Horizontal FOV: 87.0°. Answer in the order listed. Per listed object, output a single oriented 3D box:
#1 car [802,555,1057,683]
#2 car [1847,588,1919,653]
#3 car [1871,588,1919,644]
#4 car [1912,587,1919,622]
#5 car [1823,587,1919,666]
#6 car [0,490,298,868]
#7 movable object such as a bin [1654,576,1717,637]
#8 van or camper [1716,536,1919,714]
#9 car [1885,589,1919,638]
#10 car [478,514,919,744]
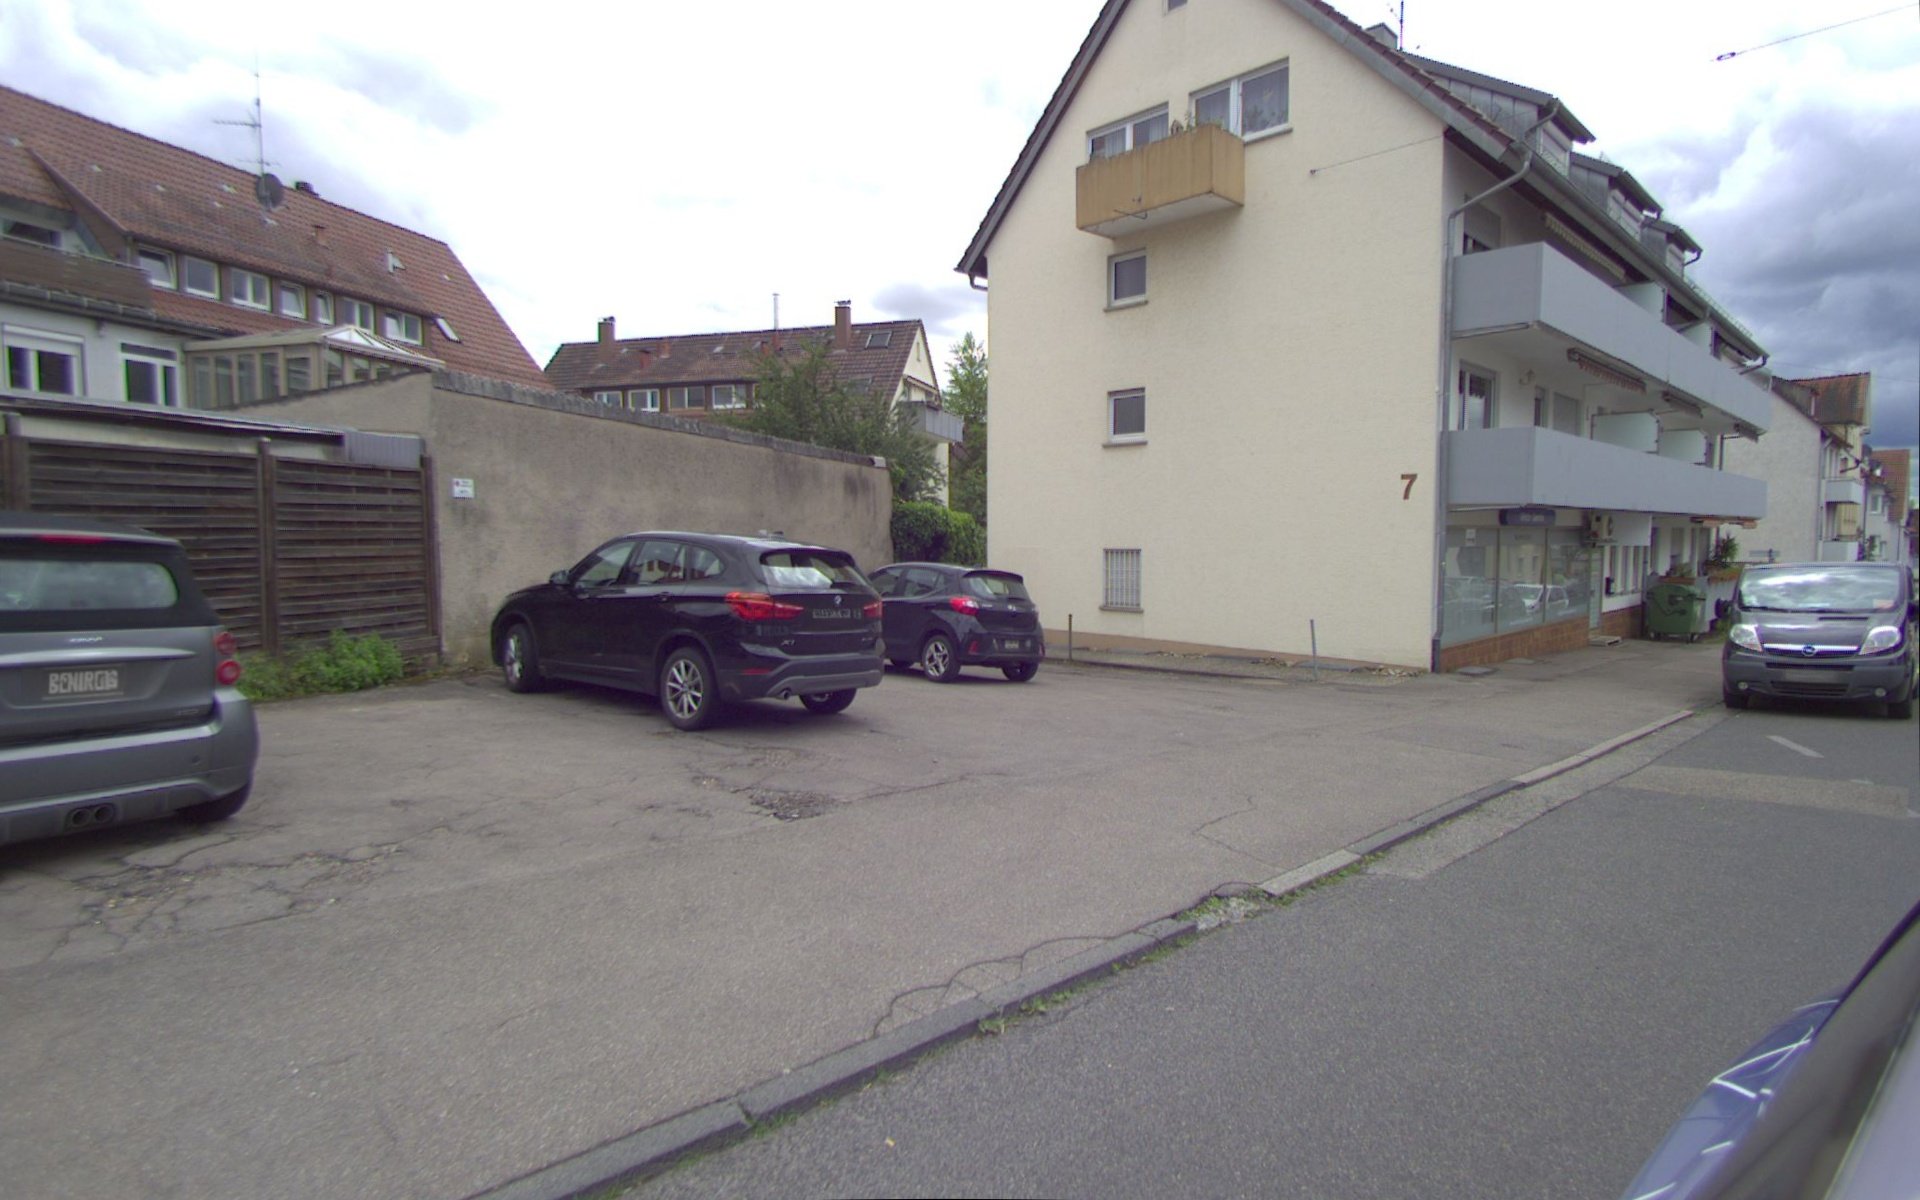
[{"bbox_3d":[-0.487,0.211,13.747,1.698,1.506,3.316,0,0,-44],"label":"car"},{"bbox_3d":[22.777,0.444,24.586,3.797,1.473,1.610,-1,1,-45],"label":"car"},{"bbox_3d":[26.692,0.413,28.312,3.260,1.473,1.610,-1,1,-45],"label":"car"},{"bbox_3d":[43.183,0.193,44.629,3.797,1.473,1.610,-1,1,-45],"label":"car"},{"bbox_3d":[19.163,0.476,20.955,4.264,1.473,1.610,-1,1,-45],"label":"car"},{"bbox_3d":[-5.203,0.227,5.142,3.292,1.537,1.688,3,3,27],"label":"car"},{"bbox_3d":[18.040,0.148,25.178,1.239,1.455,1.080,-1,1,-44],"label":"movable object such as a bin"},{"bbox_3d":[12.083,0.263,13.962,1.994,2.039,4.983,0,0,45],"label":"van or camper"},{"bbox_3d":[29.673,0.399,31.163,3.540,1.423,1.581,-1,1,-45],"label":"car"},{"bbox_3d":[-2.560,0.093,9.452,4.105,1.674,1.878,4,3,38],"label":"car"}]
